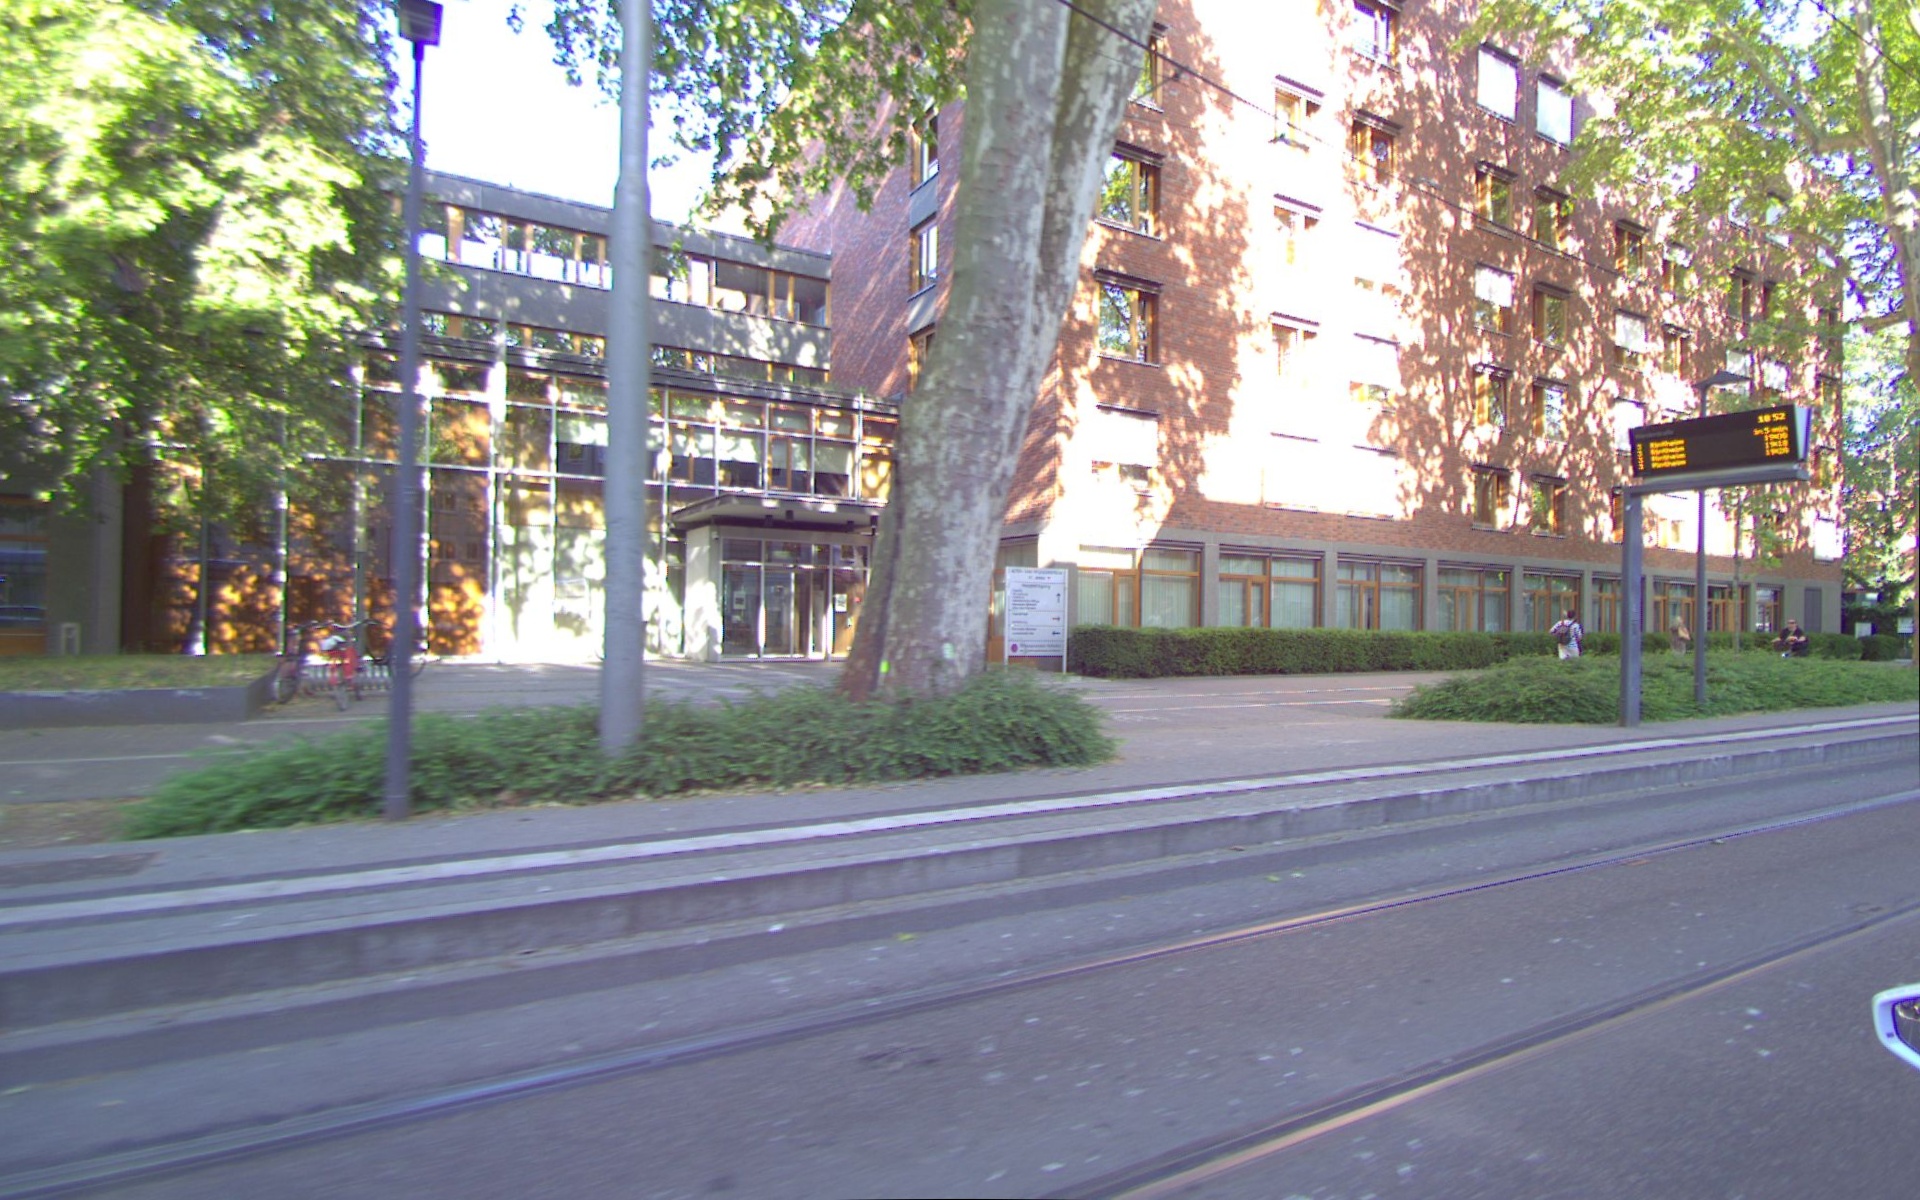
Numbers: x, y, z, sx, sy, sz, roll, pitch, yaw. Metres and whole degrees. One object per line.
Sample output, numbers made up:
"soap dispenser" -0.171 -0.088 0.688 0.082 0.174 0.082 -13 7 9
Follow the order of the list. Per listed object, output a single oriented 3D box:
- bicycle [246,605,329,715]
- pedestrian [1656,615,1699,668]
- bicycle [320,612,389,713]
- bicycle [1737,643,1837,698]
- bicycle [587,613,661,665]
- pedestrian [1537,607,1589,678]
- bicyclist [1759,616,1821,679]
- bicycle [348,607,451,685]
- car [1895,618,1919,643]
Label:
"bicycle" -8.863 0.736 13.309 0.674 1.235 2.447 2 1 -29
"pedestrian" 22.828 1.311 31.945 0.935 1.626 0.771 2 0 -30
"bicycle" -8.161 0.791 13.599 0.674 1.182 2.330 2 0 -29
"bicycle" 20.527 1.735 24.916 2.943 1.257 0.950 2 0 -30
"bicycle" -7.560 0.852 22.573 1.920 1.087 0.760 1 0 44
"pedestrian" 14.737 1.030 24.546 0.851 1.694 0.732 2 0 -30
"bicyclist" 20.628 1.175 24.977 0.828 1.511 0.950 2 0 -30
"bicycle" -9.350 0.741 16.811 0.668 1.235 1.501 1 0 12
"car" 79.058 2.533 82.713 3.953 2.040 1.984 2 0 -30
